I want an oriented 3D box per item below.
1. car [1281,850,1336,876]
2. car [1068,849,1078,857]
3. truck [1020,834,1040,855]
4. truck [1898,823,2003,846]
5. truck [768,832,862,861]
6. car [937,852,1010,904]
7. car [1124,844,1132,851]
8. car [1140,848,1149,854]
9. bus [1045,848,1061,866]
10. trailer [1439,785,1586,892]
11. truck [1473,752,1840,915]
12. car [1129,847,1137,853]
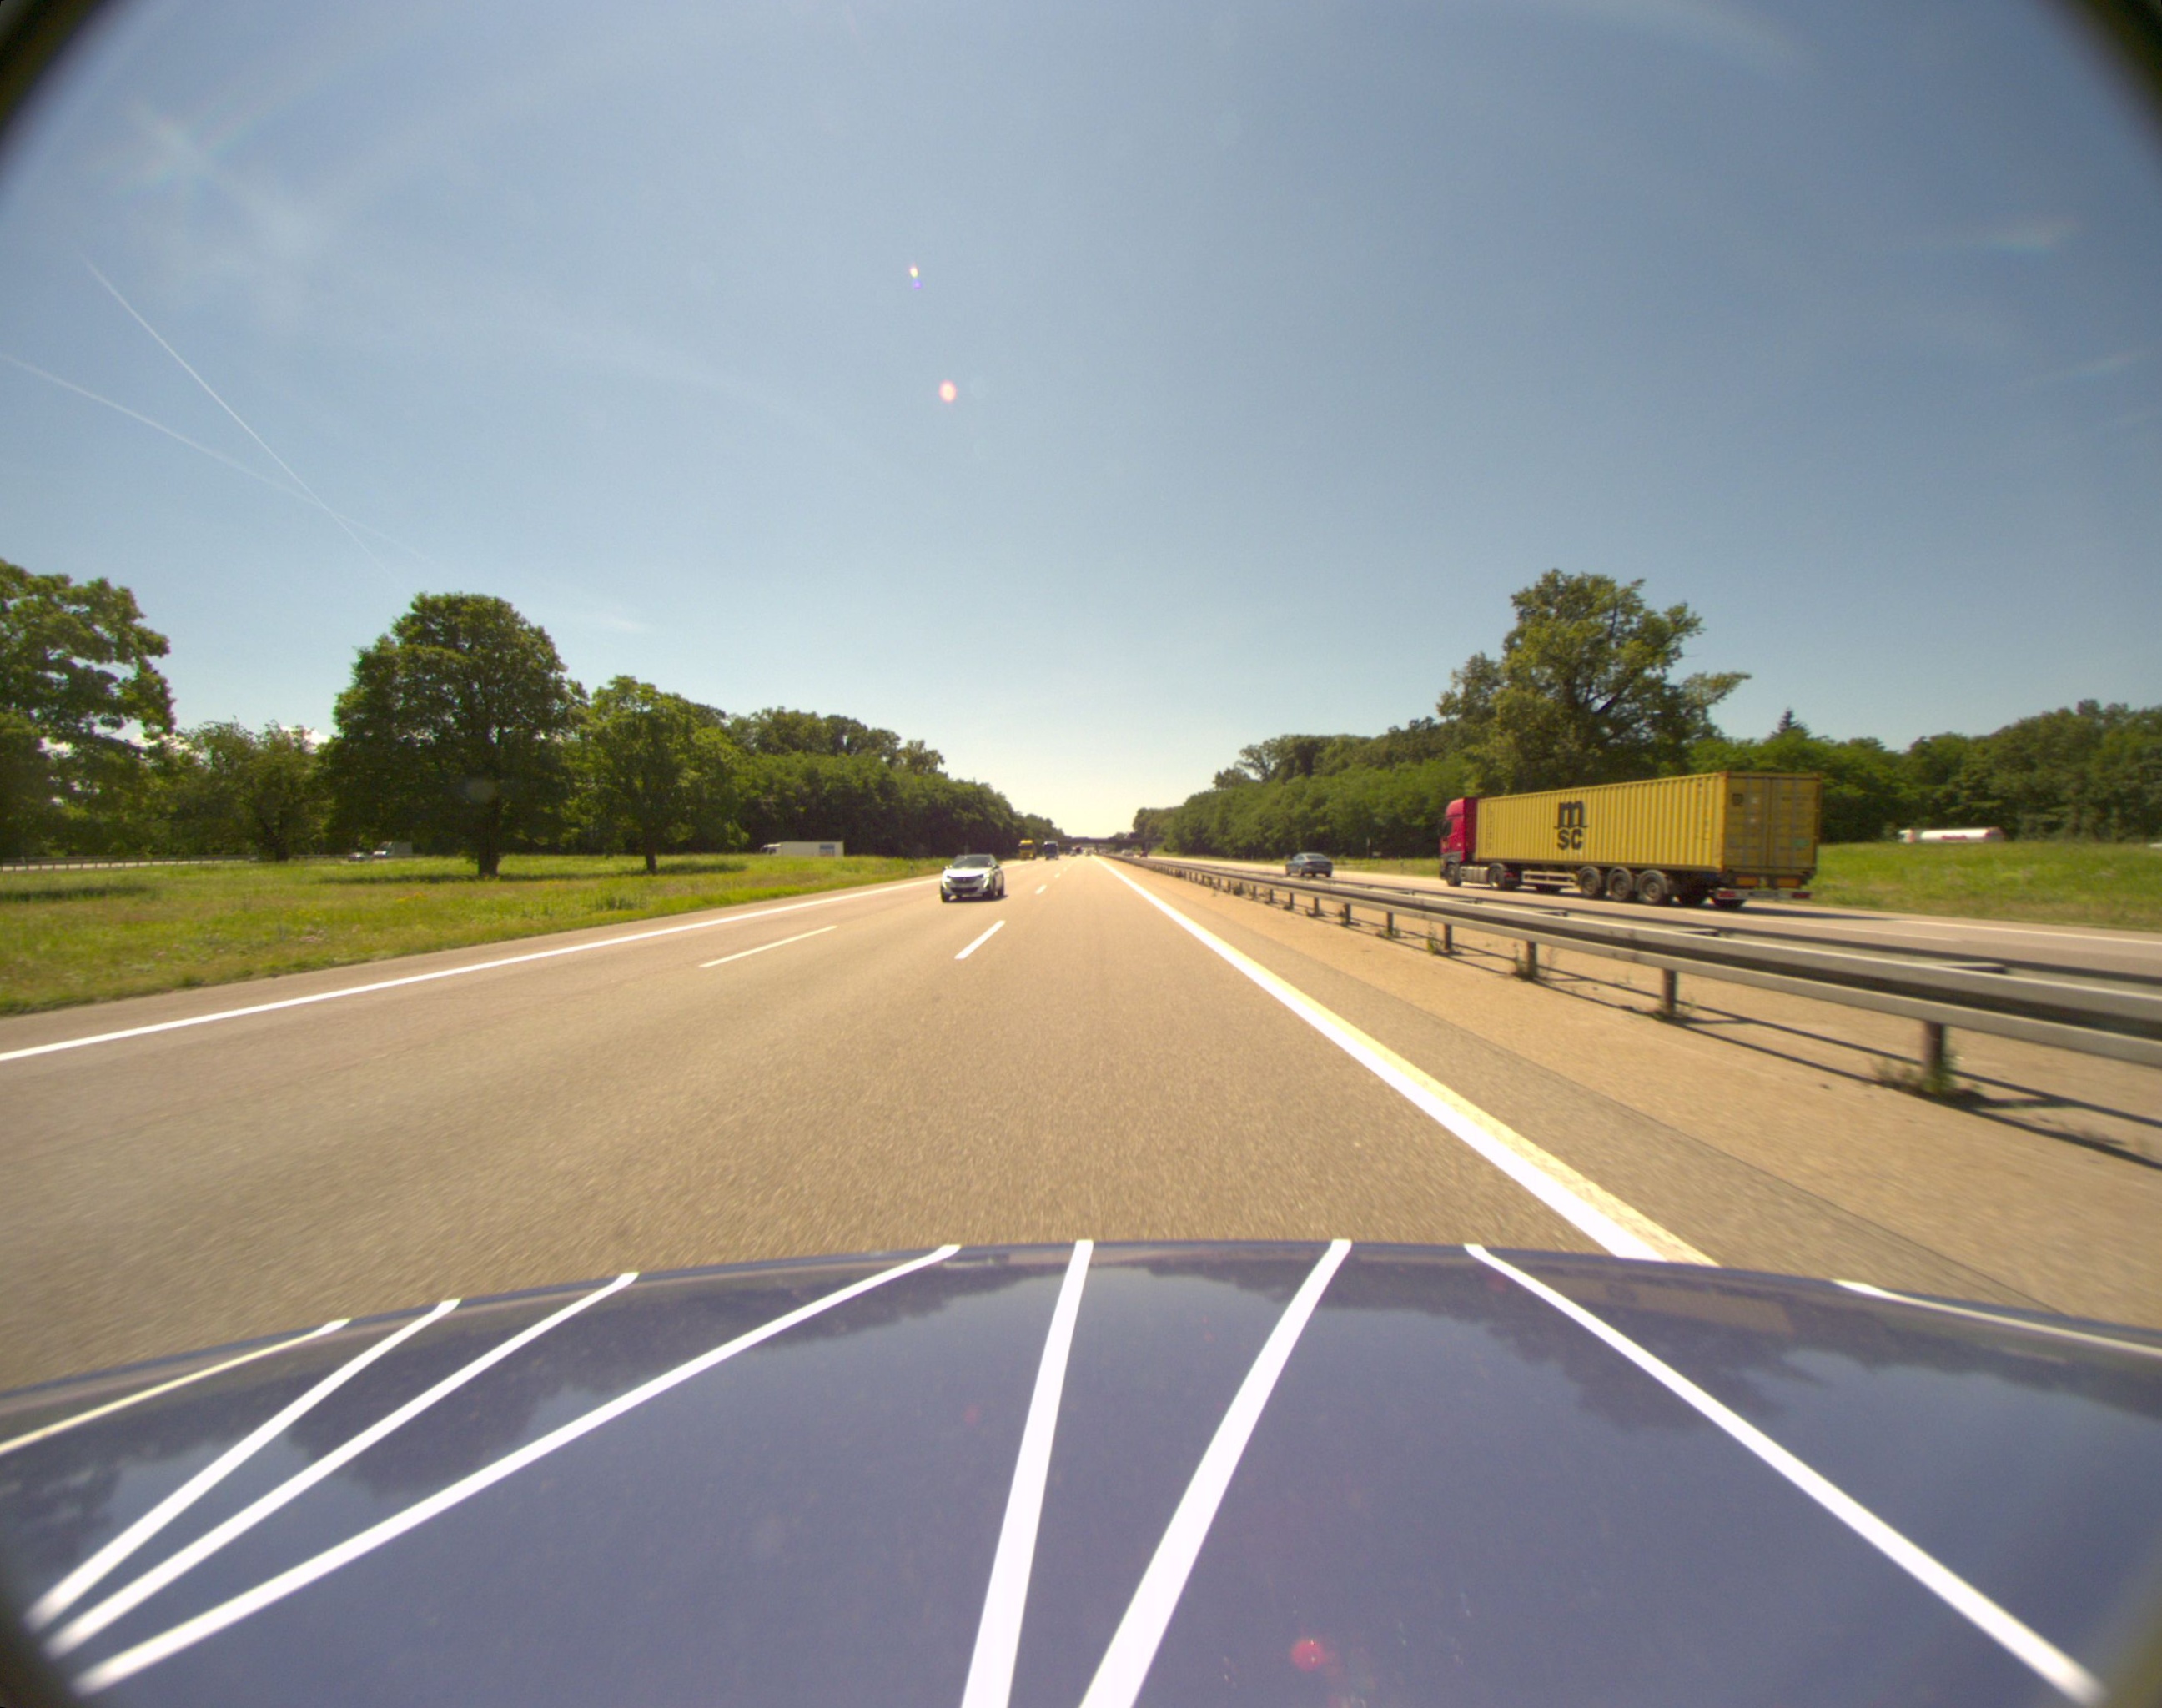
[{"bbox_3d":[13.519,0.497,45.431,1.725,1.373,4.785,3,1,-1],"label":"car"},{"bbox_3d":[-2.285,-0.292,224.688,2.616,2.389,7.122,-2,1,0],"label":"car"},{"bbox_3d":[-10.501,-1.963,157.438,2.982,4.013,10.981,-3,1,2],"label":"truck"},{"bbox_3d":[133.000,-2.953,116.618,2.702,3.264,14.795,-2,1,15],"label":"truck"},{"bbox_3d":[-33.776,-1.033,96.814,10.789,3.300,3.030,-3,1,-36],"label":"truck"},{"bbox_3d":[-3.709,0.777,26.974,1.832,1.599,4.808,-1,1,0],"label":"car"},{"bbox_3d":[11.651,-1.559,189.639,1.815,1.683,5.124,-1,1,0],"label":"car"},{"bbox_3d":[15.398,-0.778,184.699,1.767,1.486,4.074,1,1,0],"label":"car"},{"bbox_3d":[-5.601,0.511,155.838,2.617,3.532,13.681,-2,1,0],"label":"bus"},{"bbox_3d":[17.719,-0.604,31.743,2.609,3.969,6.028,2,1,1],"label":"trailer"},{"bbox_3d":[17.715,-0.568,25.421,2.606,4.024,12.690,2,1,1],"label":"truck"},{"bbox_3d":[14.654,-1.154,214.301,1.767,1.683,4.818,-1,1,0],"label":"car"}]
